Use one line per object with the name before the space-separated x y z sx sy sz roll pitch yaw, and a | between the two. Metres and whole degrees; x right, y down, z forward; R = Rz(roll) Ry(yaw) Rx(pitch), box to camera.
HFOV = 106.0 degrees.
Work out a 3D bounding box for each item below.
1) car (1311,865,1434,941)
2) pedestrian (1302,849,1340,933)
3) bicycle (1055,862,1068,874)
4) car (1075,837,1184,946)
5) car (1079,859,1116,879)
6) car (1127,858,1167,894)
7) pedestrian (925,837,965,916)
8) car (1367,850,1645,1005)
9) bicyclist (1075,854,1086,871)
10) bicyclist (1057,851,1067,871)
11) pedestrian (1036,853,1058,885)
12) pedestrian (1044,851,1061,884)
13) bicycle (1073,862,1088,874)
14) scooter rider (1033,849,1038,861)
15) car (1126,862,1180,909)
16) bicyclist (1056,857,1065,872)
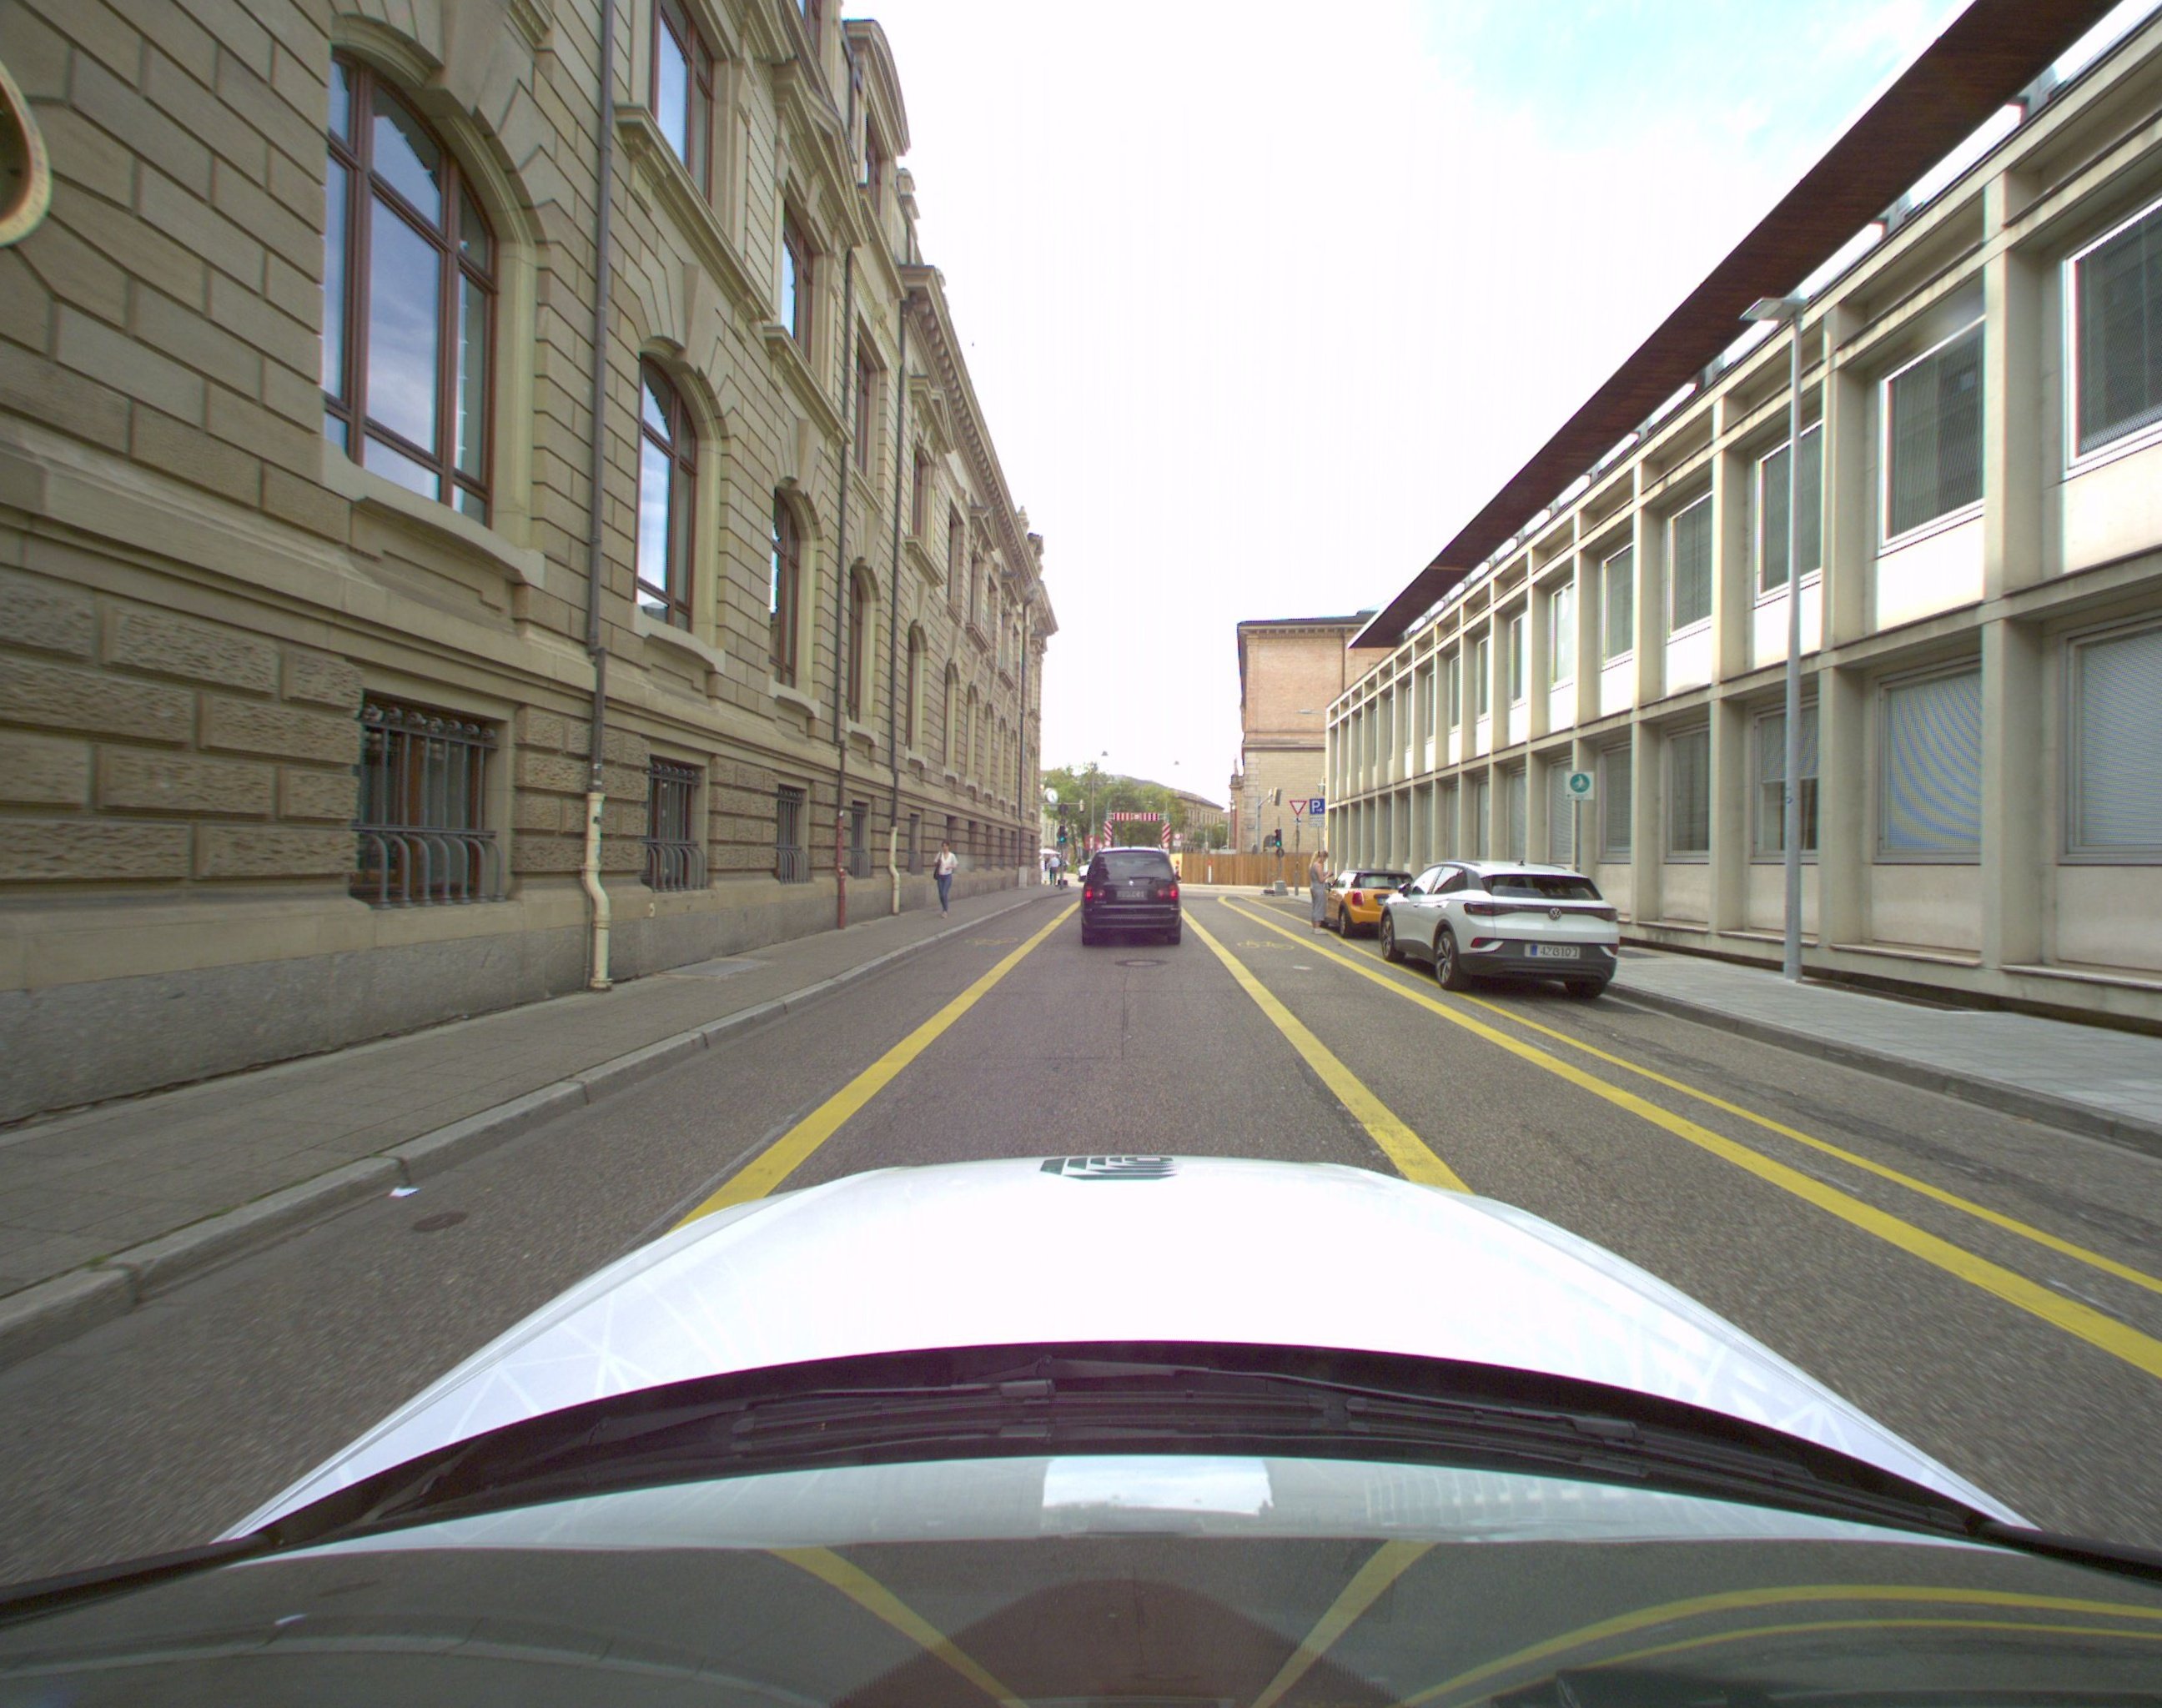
car | 6.257 0.981 17.886 1.671 1.435 3.893 1 -1 6
pedestrian | 5.165 0.789 17.541 0.693 1.764 0.707 0 -1 9
bicycle | -1.612 1.144 67.527 0.735 1.009 2.060 1 -1 -12
car | 1.035 0.651 15.611 1.780 1.790 4.110 1 -1 6
car | 1.130 1.069 58.240 1.653 1.321 3.654 1 -1 -17
car | 3.018 1.005 37.705 1.766 1.586 4.003 0 -1 3
pedestrian | -3.244 0.541 19.524 0.661 1.819 1.049 2 -1 3
car | 5.517 0.844 11.322 1.851 1.605 4.519 4 -1 6
bicyclist | -0.034 0.702 67.652 0.736 1.375 0.828 1 -1 -13
bicyclist | -1.605 0.586 67.532 0.735 1.612 0.692 1 -1 -12
pedestrian | -2.016 0.891 48.489 0.797 1.819 1.037 3 -1 -33
pedestrian | -1.607 0.782 46.537 0.789 1.819 1.049 2 -1 3
bicycle | -0.044 1.154 67.654 0.736 1.009 2.059 1 -1 -13
scooter rider | -6.046 0.119 108.262 0.596 1.490 0.680 0 -1 6
car | 2.444 1.027 28.006 1.671 1.469 4.107 1 -1 4
bicyclist | -1.917 0.991 76.726 0.735 1.470 0.806 1 -1 -9
